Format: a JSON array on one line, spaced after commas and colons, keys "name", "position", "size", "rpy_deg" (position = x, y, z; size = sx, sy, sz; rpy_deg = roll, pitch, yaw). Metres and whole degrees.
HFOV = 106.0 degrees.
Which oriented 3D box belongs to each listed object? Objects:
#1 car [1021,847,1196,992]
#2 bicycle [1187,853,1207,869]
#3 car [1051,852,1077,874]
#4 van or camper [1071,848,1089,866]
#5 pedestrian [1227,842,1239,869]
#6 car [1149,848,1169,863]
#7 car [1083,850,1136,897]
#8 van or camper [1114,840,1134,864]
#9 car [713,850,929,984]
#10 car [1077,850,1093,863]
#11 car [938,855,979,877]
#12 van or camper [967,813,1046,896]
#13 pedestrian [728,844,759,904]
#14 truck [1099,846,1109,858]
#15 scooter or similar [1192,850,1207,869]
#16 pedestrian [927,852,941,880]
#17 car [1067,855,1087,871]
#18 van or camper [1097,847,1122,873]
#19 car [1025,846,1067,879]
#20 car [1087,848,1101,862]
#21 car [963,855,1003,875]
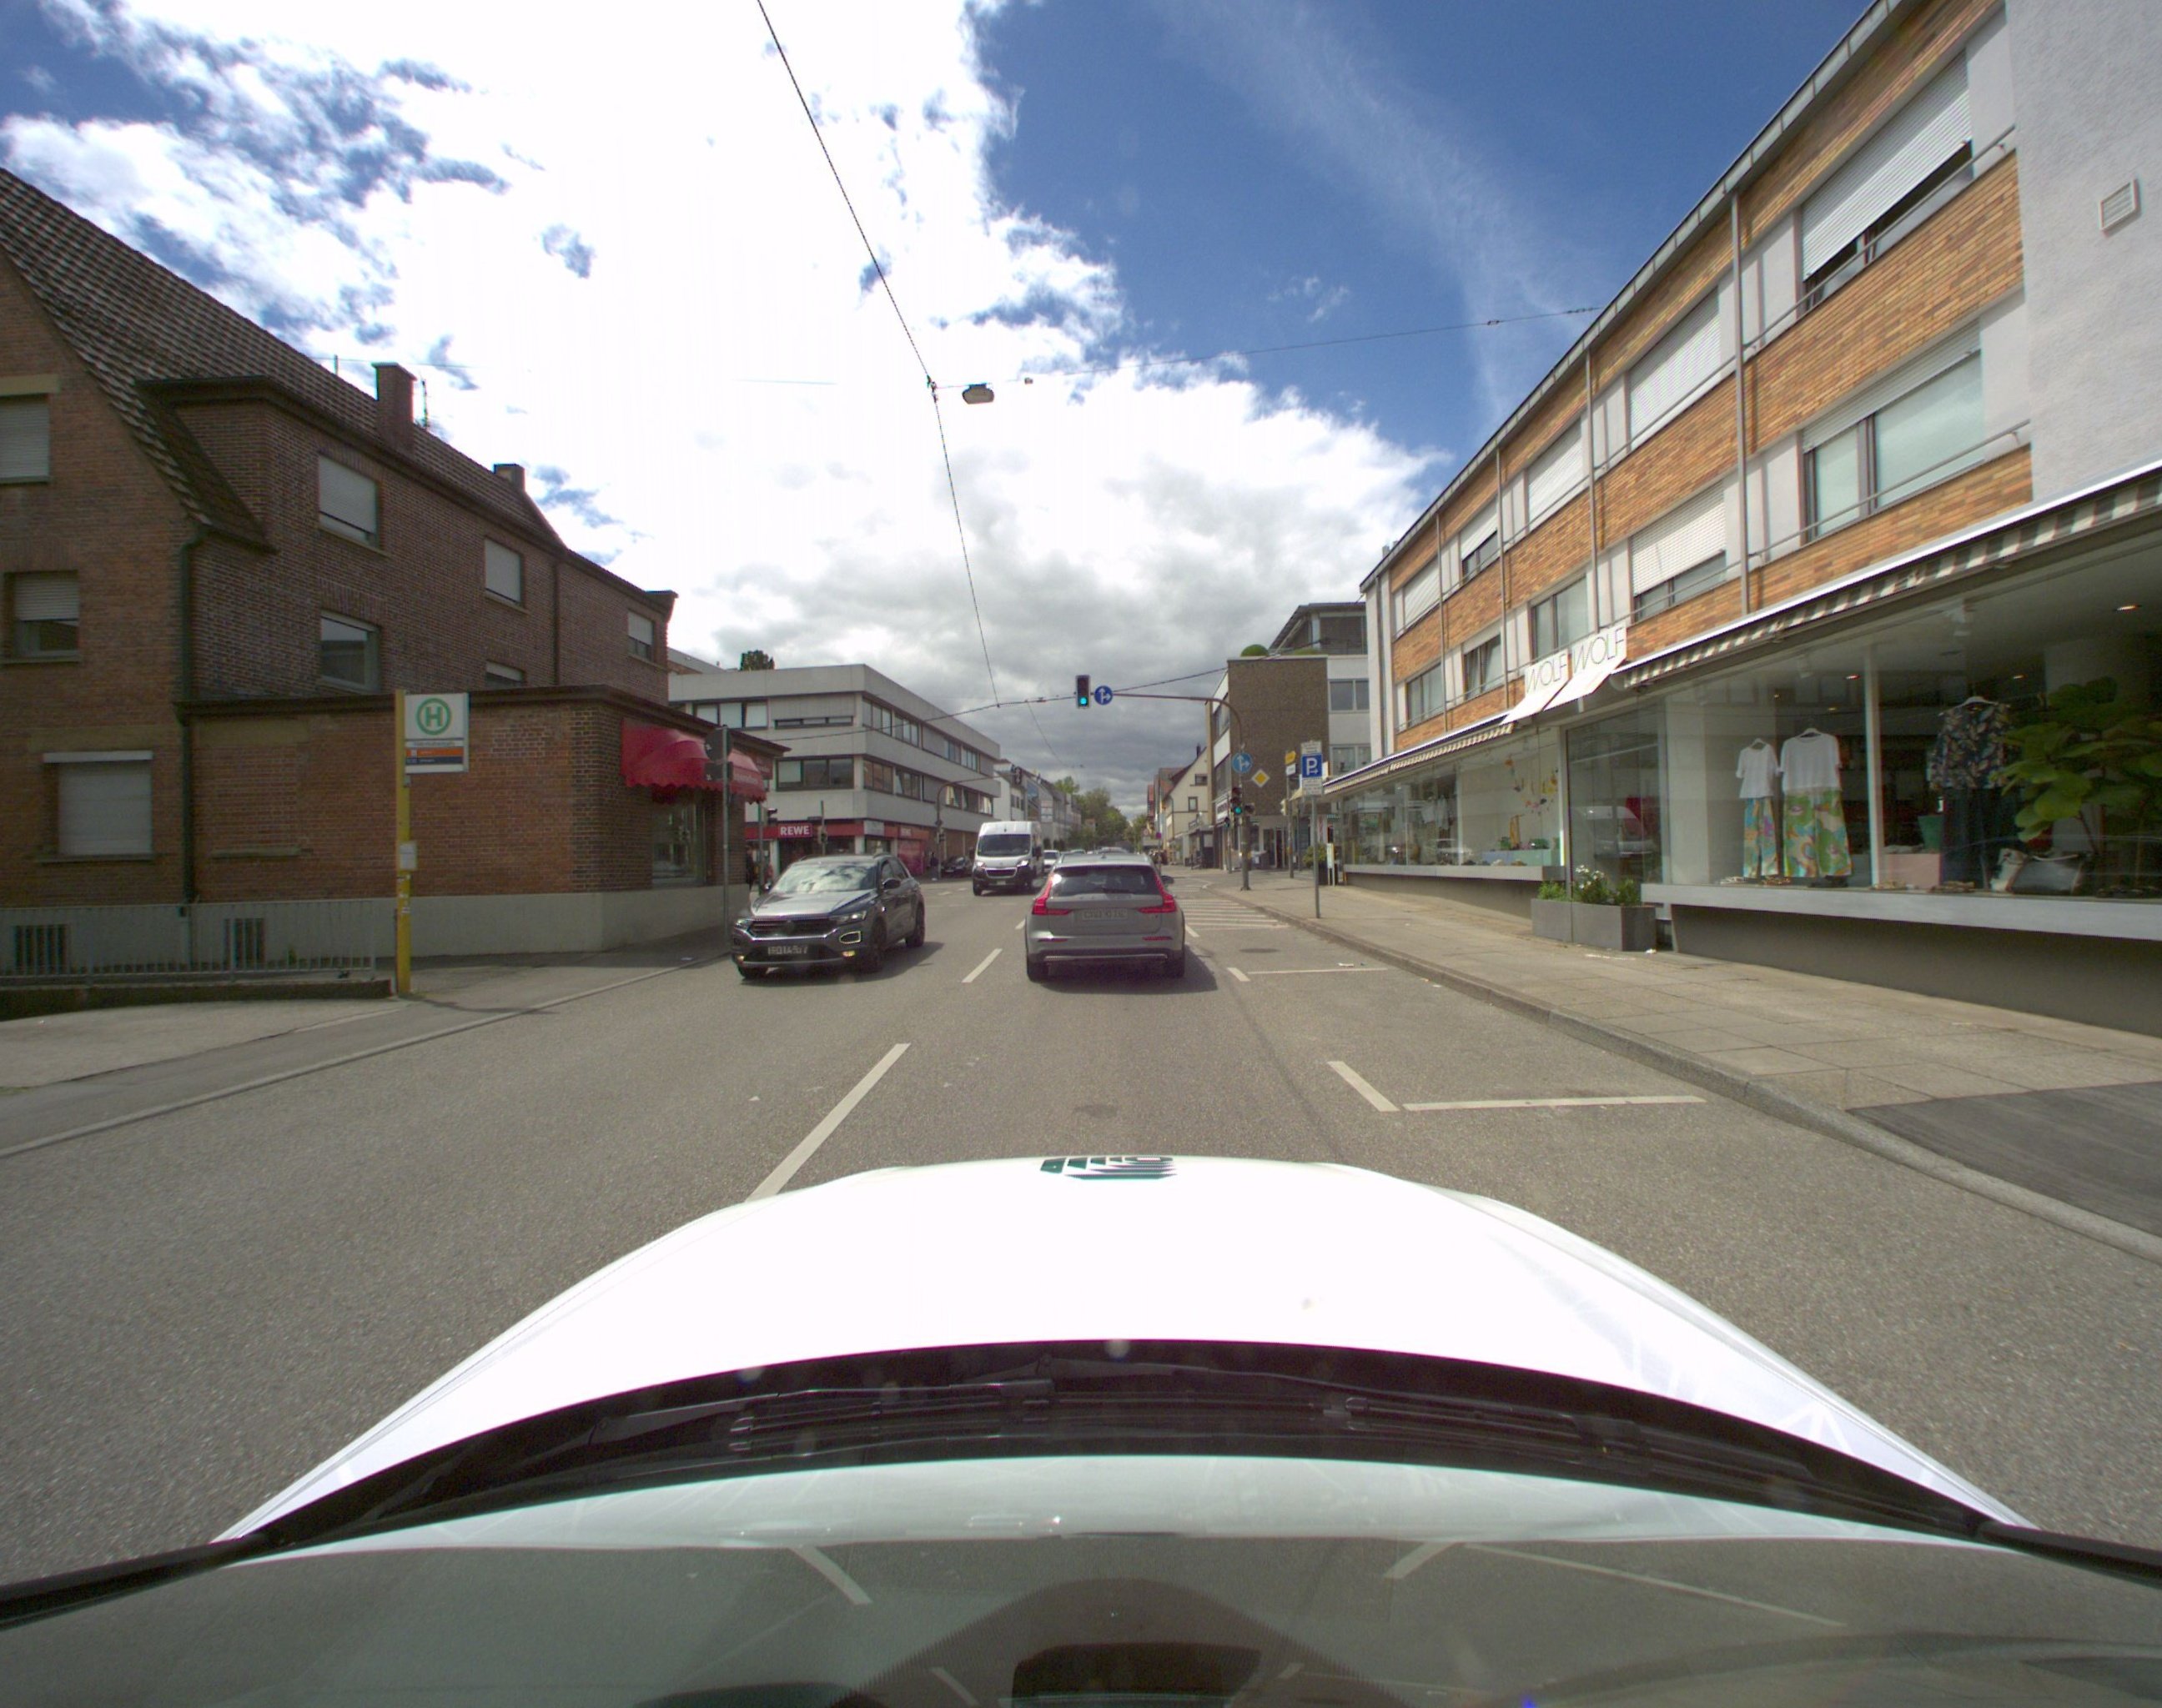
[{"name": "car", "position": [0.363, 0.687, 10.669], "size": [1.829, 1.486, 4.002], "rpy_deg": [-1, 1, 2]}, {"name": "bicycle", "position": [8.343, 0.505, 58.575], "size": [0.555, 1.144, 2.288], "rpy_deg": [-2, 0, -15]}, {"name": "car", "position": [-1.291, 0.684, 63.025], "size": [1.783, 1.589, 4.100], "rpy_deg": [-2, -1, 0]}, {"name": "van or camper", "position": [-0.087, 0.266, 91.791], "size": [1.857, 1.898, 4.695], "rpy_deg": [-1, 1, 2]}, {"name": "pedestrian", "position": [8.649, 0.073, 46.323], "size": [0.500, 1.459, 0.502], "rpy_deg": [-5, -1, 15]}, {"name": "car", "position": [7.979, 0.150, 83.453], "size": [1.705, 1.464, 3.999], "rpy_deg": [-1, -2, 0]}, {"name": "car", "position": [0.969, 0.628, 27.550], "size": [1.644, 1.482, 3.609], "rpy_deg": [-1, -1, 2]}, {"name": "van or camper", "position": [5.050, -0.260, 95.603], "size": [2.114, 2.686, 4.785], "rpy_deg": [-2, 0, 3]}, {"name": "car", "position": [-3.461, 0.743, 11.638], "size": [1.785, 1.511, 3.845], "rpy_deg": [-2, 1, 0]}, {"name": "car", "position": [0.537, 0.302, 103.136], "size": [1.661, 1.554, 4.218], "rpy_deg": [-1, 0, 3]}, {"name": "car", "position": [-8.231, 0.775, 55.168], "size": [1.776, 1.464, 4.094], "rpy_deg": [0, 0, 6]}, {"name": "van or camper", "position": [-2.498, -0.019, 28.711], "size": [2.141, 2.556, 5.438], "rpy_deg": [-2, 1, 1]}, {"name": "pedestrian", "position": [-10.298, 0.603, 24.866], "size": [0.623, 1.797, 0.720], "rpy_deg": [-1, -2, 0]}, {"name": "truck", "position": [5.549, -0.521, 195.555], "size": [2.266, 2.886, 7.085], "rpy_deg": [-2, 0, 3]}, {"name": "scooter or similar", "position": [8.085, 0.400, 55.544], "size": [0.342, 1.253, 1.236], "rpy_deg": [-4, -1, -23]}, {"name": "pedestrian", "position": [-8.629, 0.706, 47.822], "size": [0.616, 1.641, 0.661], "rpy_deg": [-2, 0, 3]}, {"name": "car", "position": [-0.376, 0.848, 78.918], "size": [1.676, 1.497, 3.970], "rpy_deg": [-2, -1, 3]}, {"name": "van or camper", "position": [2.153, 0.519, 62.372], "size": [1.812, 1.835, 4.001], "rpy_deg": [-1, -2, 2]}, {"name": "car", "position": [-1.892, 0.446, 45.252], "size": [1.773, 1.640, 4.224], "rpy_deg": [-3, 0, 3]}, {"name": "car", "position": [1.810, 0.101, 114.353], "size": [1.831, 1.917, 4.157], "rpy_deg": [-1, -1, 2]}, {"name": "car", "position": [-7.240, 0.779, 60.549], "size": [1.894, 1.443, 4.451], "rpy_deg": [0, 0, 6]}]
